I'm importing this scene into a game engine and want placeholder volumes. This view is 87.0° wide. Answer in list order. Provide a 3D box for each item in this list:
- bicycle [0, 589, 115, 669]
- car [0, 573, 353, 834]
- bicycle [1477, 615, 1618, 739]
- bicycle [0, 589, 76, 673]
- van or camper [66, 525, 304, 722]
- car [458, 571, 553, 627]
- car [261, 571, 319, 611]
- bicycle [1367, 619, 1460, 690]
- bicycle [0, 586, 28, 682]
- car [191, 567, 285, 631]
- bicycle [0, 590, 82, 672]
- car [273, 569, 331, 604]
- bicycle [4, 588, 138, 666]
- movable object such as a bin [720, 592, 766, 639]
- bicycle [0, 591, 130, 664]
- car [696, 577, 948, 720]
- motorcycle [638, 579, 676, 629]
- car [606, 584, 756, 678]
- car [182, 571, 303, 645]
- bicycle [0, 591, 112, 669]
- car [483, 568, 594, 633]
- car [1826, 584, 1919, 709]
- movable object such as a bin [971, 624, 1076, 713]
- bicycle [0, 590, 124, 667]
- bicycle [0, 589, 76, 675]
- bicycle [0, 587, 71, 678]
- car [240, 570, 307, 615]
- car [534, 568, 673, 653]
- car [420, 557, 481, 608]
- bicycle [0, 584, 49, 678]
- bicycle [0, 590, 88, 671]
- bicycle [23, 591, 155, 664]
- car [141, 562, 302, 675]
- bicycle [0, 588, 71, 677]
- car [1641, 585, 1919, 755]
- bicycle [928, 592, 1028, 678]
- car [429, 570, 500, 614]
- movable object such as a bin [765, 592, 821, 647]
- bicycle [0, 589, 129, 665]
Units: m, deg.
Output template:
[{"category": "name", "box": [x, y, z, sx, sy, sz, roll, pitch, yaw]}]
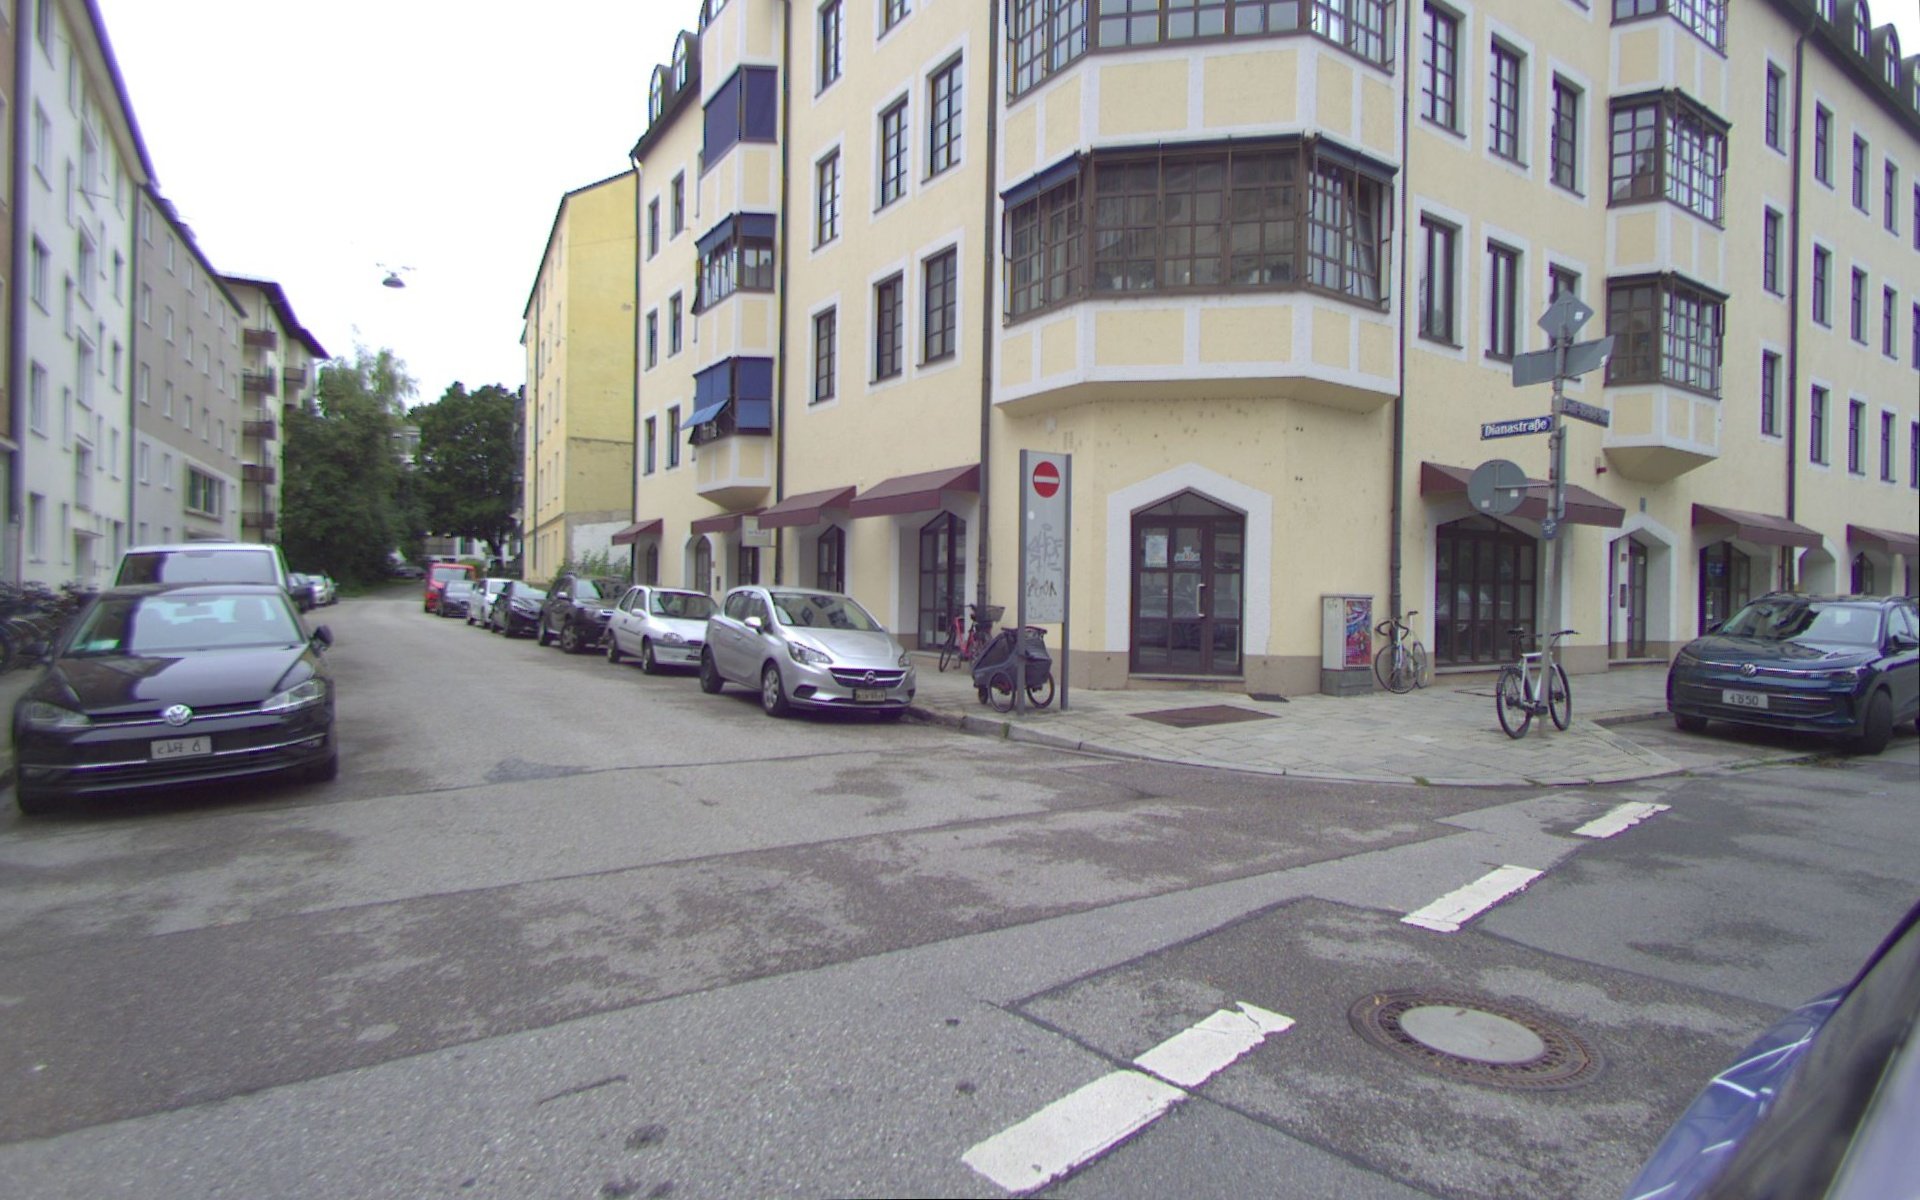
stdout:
[{"category": "bicycle", "box": [-15.244, 0.461, 16.846, 0.416, 1.275, 1.775, 1, 1, 38]}, {"category": "car", "box": [-5.940, 0.556, 7.912, 1.856, 1.506, 3.886, 0, 1, -34]}, {"category": "bicycle", "box": [6.254, 0.770, 10.735, 2.013, 1.173, 0.431, 0, 2, -34]}, {"category": "bicycle", "box": [-13.567, 0.435, 14.145, 0.416, 1.158, 1.775, 1, 1, 38]}, {"category": "van or camper", "box": [-9.328, 0.161, 12.574, 1.923, 1.942, 4.918, -2, 2, -33]}, {"category": "car", "box": [-14.048, -0.054, 31.149, 1.940, 1.588, 4.433, 0, 1, -34]}, {"category": "car", "box": [-28.638, -0.439, 43.354, 1.939, 1.588, 4.435, 0, 2, -32]}, {"category": "bicycle", "box": [6.390, 0.746, 14.229, 1.662, 0.912, 0.263, 0, 5, -33]}, {"category": "bicycle", "box": [-12.191, 0.412, 11.798, 0.472, 1.158, 1.902, 1, 1, 38]}, {"category": "car", "box": [-19.776, -0.103, 27.890, 1.940, 1.588, 4.673, 0, 2, -33]}, {"category": "bicycle", "box": [-13.783, 0.438, 14.505, 0.416, 1.158, 1.775, 1, 1, 38]}, {"category": "car", "box": [-31.146, -0.622, 48.027, 1.938, 1.588, 4.437, 0, 1, -28]}, {"category": "bicycle", "box": [-17.177, 0.490, 19.598, 0.416, 1.426, 1.900, 1, 1, 38]}, {"category": "movable object such as a bin", "box": [-5.037, 0.349, 23.470, 0.671, 1.027, 1.127, 0, 1, -34]}, {"category": "bicycle", "box": [-16.539, 0.480, 18.634, 0.416, 1.275, 1.900, 1, 1, 38]}, {"category": "car", "box": [-1.856, 0.513, 12.556, 1.716, 1.458, 3.751, 4, 0, -31]}, {"category": "motorcycle", "box": [-8.603, 0.086, 28.673, 0.545, 1.356, 1.888, 0, 1, -31]}, {"category": "car", "box": [-4.830, 0.446, 17.238, 1.607, 1.354, 3.459, 0, 2, -31]}, {"category": "car", "box": [-16.407, 0.150, 23.338, 1.939, 1.522, 4.673, 0, 0, -31]}, {"category": "bicycle", "box": [-14.267, 0.447, 15.609, 0.416, 1.158, 1.775, 1, 1, 38]}, {"category": "car", "box": [-11.426, -0.023, 27.268, 1.940, 1.588, 4.433, 0, 1, -34]}, {"category": "car", "box": [14.598, 0.648, 14.679, 4.081, 1.608, 1.822, 0, 5, -31]}, {"category": "movable object such as a bin", "box": [0.724, 0.766, 11.780, 0.671, 0.911, 1.127, 0, 1, -34]}, {"category": "bicycle", "box": [-15.613, 0.467, 17.480, 0.416, 1.275, 1.775, 1, 1, 38]}, {"category": "bicycle", "box": [-13.230, 0.430, 13.676, 0.416, 1.158, 1.902, 1, 1, 38]}, {"category": "bicycle", "box": [-12.618, 0.421, 12.897, 0.416, 1.158, 1.902, 1, 1, 38]}, {"category": "car", "box": [-26.287, -0.327, 38.896, 1.939, 1.588, 4.674, 0, 2, -32]}, {"category": "car", "box": [-7.620, 0.158, 21.416, 1.946, 1.604, 4.032, 0, 1, -32]}, {"category": "car", "box": [-21.615, -0.726, 42.842, 2.024, 2.003, 4.435, 0, 1, -31]}, {"category": "bicycle", "box": [-12.444, 0.325, 12.299, 0.472, 1.158, 1.901, 1, -4, 38]}, {"category": "bicycle", "box": [-14.061, 0.442, 14.922, 0.416, 1.158, 1.775, 1, 1, 38]}, {"category": "bicycle", "box": [-15.883, 0.475, 18.494, 0.416, 1.275, 1.775, 1, 1, 38]}, {"category": "car", "box": [-12.301, 0.200, 17.103, 1.940, 1.664, 4.001, 0, 2, -32]}, {"category": "bicycle", "box": [-12.911, 0.425, 13.231, 0.416, 1.158, 1.902, 1, 1, 38]}, {"category": "car", "box": [10.217, 0.670, 11.981, 4.410, 1.643, 2.114, 0, 1, -35]}, {"category": "bicycle", "box": [0.238, 0.494, 15.397, 0.505, 1.202, 1.907, 1, 1, -34]}, {"category": "car", "box": [-18.882, -0.317, 38.497, 1.940, 1.588, 4.434, 0, 1, -33]}, {"category": "movable object such as a bin", "box": [-3.495, 0.388, 21.170, 0.753, 1.094, 1.127, 0, 1, -34]}, {"category": "bicycle", "box": [-17.620, 0.495, 19.934, 0.416, 1.422, 1.900, 1, 1, 38]}]
